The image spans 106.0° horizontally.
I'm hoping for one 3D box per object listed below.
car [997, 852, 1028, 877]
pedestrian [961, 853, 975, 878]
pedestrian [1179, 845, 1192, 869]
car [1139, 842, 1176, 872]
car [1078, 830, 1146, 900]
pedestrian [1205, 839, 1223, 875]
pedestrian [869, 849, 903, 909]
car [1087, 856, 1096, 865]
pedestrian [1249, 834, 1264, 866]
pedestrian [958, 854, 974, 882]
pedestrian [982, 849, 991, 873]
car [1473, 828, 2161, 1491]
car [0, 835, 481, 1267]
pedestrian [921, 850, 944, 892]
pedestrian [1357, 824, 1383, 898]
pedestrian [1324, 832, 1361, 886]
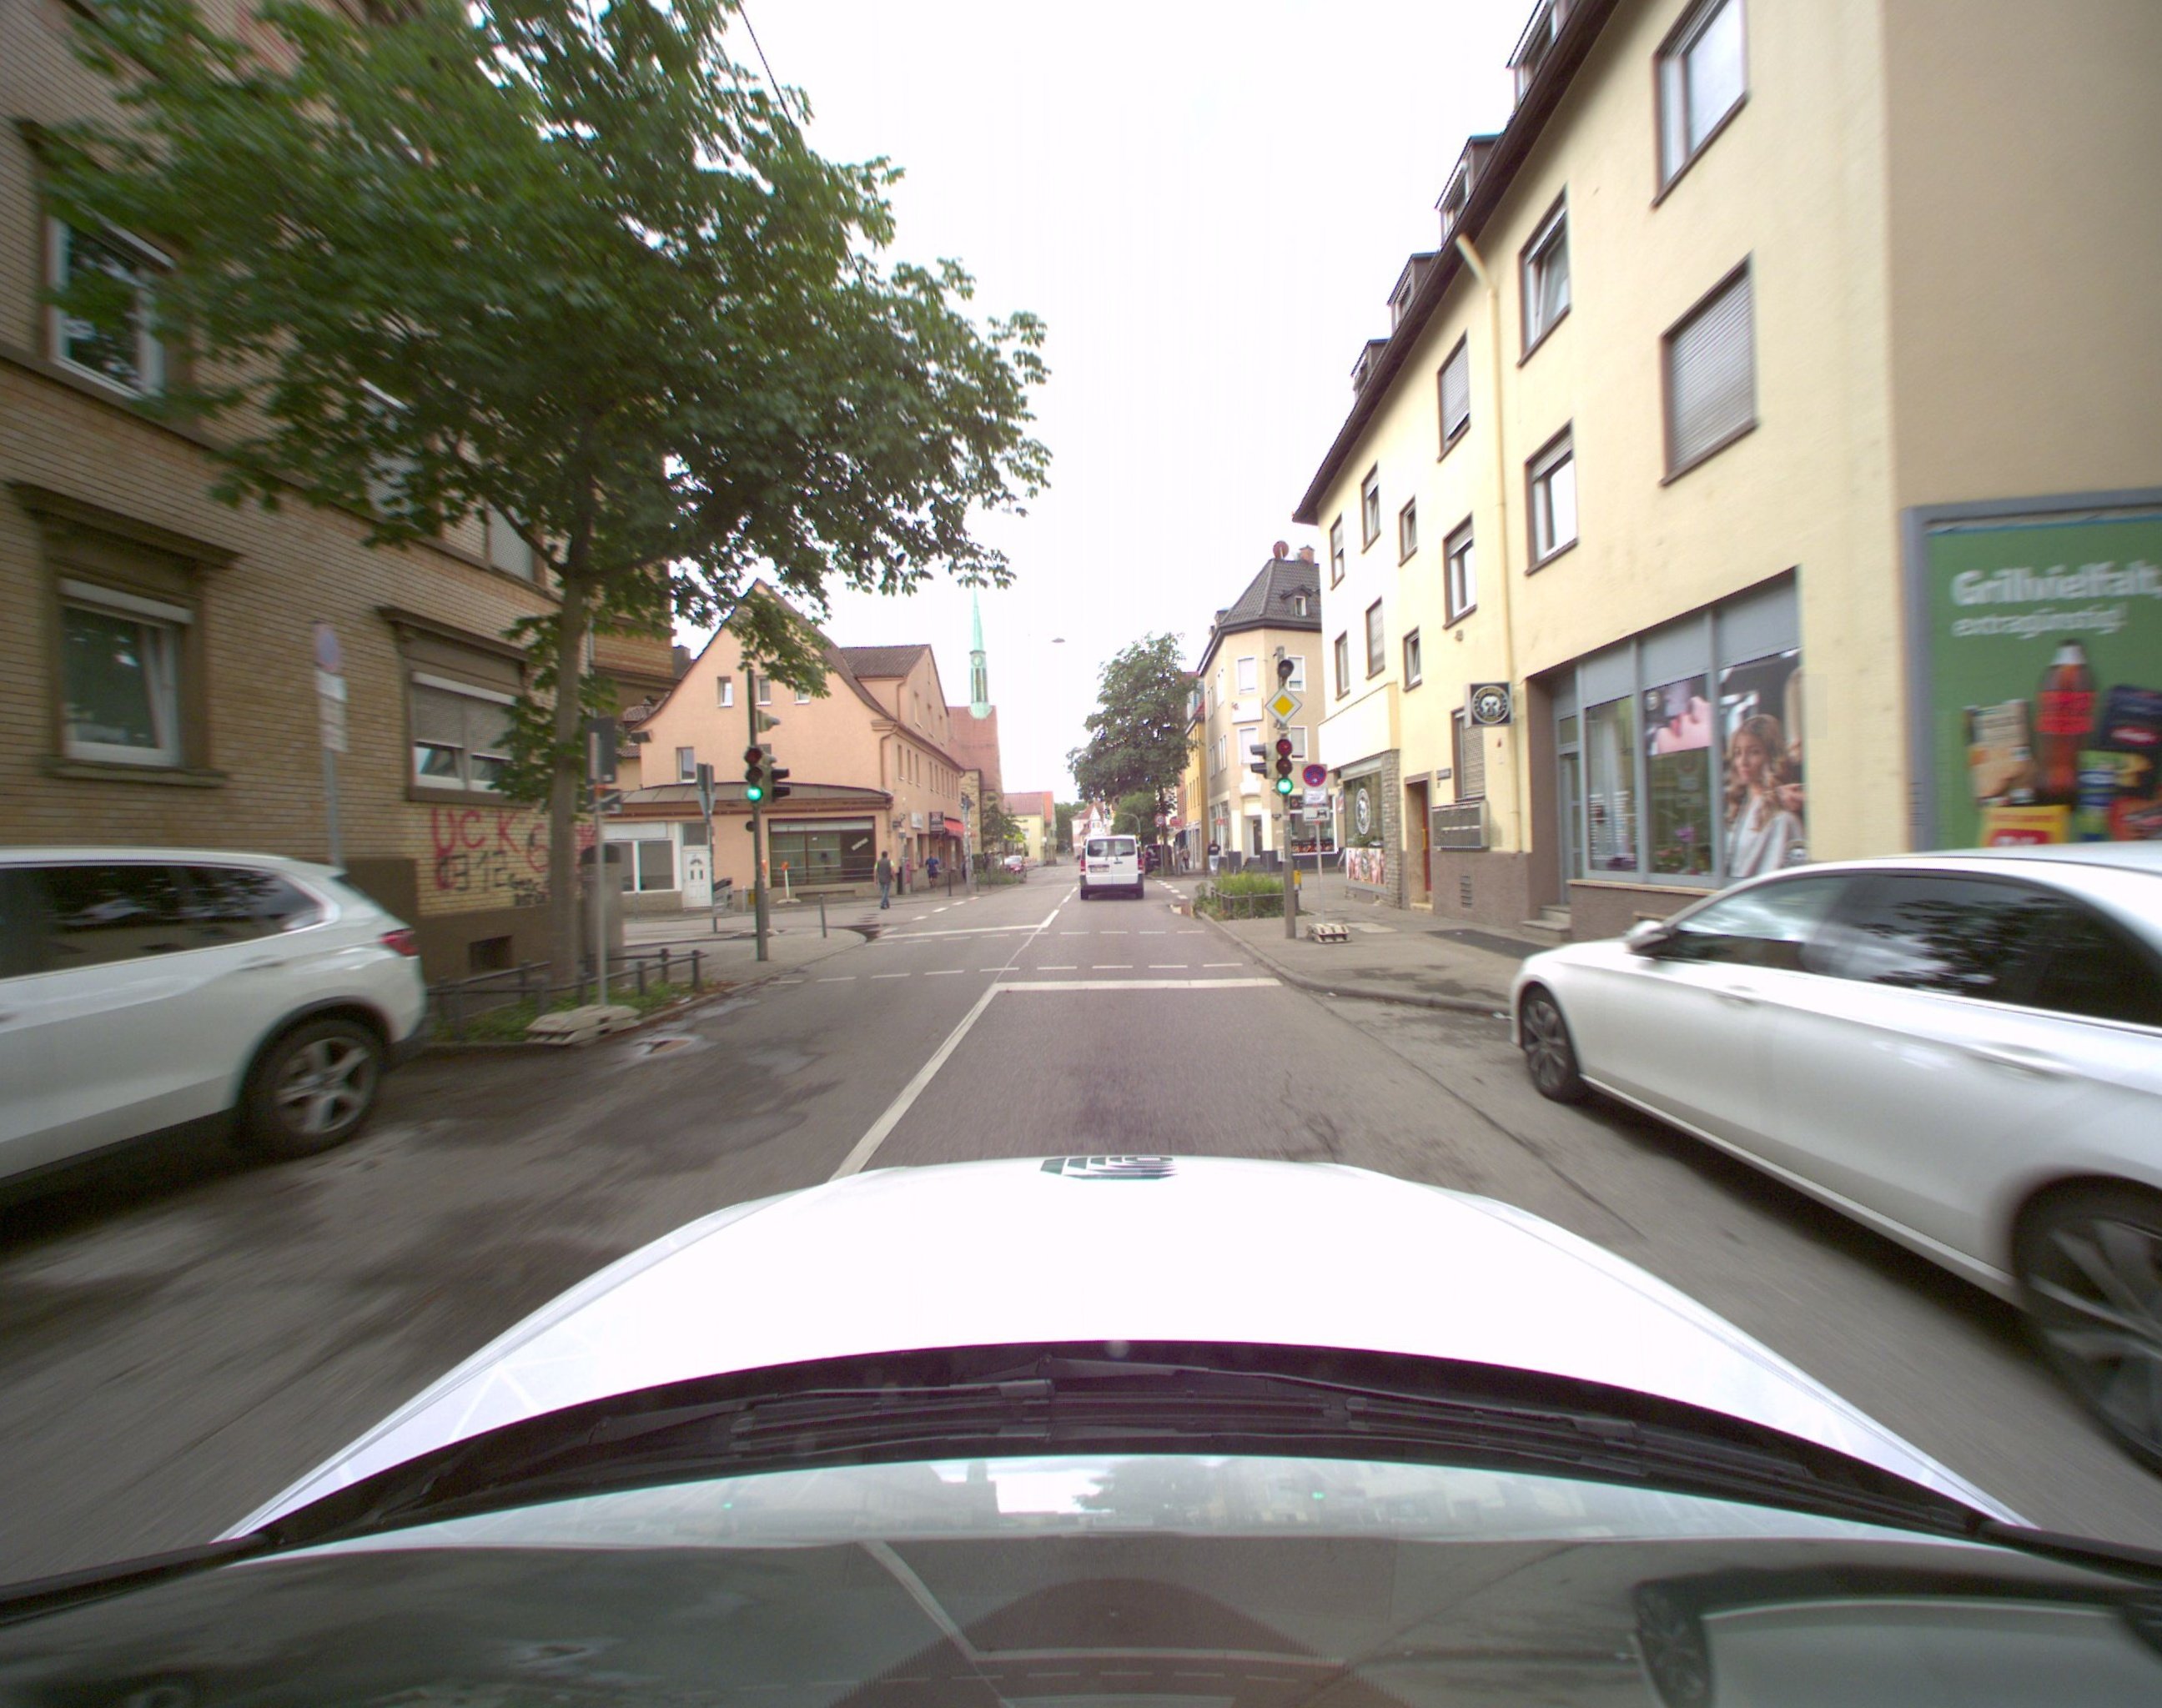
[{"bbox_3d":[-4.732,0.717,57.095,1.697,1.574,4.450,-4,0,0],"label":"car"},{"bbox_3d":[-7.344,0.742,52.927,0.733,1.628,0.752,-2,0,-23],"label":"pedestrian"},{"bbox_3d":[7.189,0.202,55.893,0.699,1.649,0.888,-3,0,0],"label":"pedestrian"},{"bbox_3d":[4.841,0.224,51.927,1.814,1.781,4.401,-2,-1,-1],"label":"car"},{"bbox_3d":[0.938,0.315,25.096,1.866,1.912,4.001,-2,0,1],"label":"car"},{"bbox_3d":[6.245,0.136,38.207,0.612,1.653,0.982,-2,0,0],"label":"pedestrian"},{"bbox_3d":[-5.892,0.731,24.595,0.736,1.754,0.982,-2,0,0],"label":"pedestrian"},{"bbox_3d":[2.371,1.417,184.541,1.929,2.014,3.998,-1,-1,-1],"label":"car"},{"bbox_3d":[8.664,-0.174,40.226,0.565,1.560,0.521,-1,-1,1],"label":"pedestrian"},{"bbox_3d":[-6.420,0.794,45.525,0.736,1.535,0.982,-2,0,-1],"label":"pedestrian"},{"bbox_3d":[-7.513,0.566,64.866,0.569,1.848,0.697,1,0,1],"label":"pedestrian"},{"bbox_3d":[3.396,0.662,3.156,1.759,1.466,4.789,-2,0,5],"label":"car"},{"bbox_3d":[-5.264,0.846,3.319,1.884,1.712,4.743,-4,0,2],"label":"car"},{"bbox_3d":[-6.202,0.696,34.005,0.736,1.718,1.156,-2,0,-2],"label":"pedestrian"},{"bbox_3d":[7.016,0.179,19.767,0.398,1.774,0.383,-1,-1,-32],"label":"pedestrian"},{"bbox_3d":[8.276,0.171,25.758,0.679,1.664,0.792,-2,-1,-35],"label":"pedestrian"}]
